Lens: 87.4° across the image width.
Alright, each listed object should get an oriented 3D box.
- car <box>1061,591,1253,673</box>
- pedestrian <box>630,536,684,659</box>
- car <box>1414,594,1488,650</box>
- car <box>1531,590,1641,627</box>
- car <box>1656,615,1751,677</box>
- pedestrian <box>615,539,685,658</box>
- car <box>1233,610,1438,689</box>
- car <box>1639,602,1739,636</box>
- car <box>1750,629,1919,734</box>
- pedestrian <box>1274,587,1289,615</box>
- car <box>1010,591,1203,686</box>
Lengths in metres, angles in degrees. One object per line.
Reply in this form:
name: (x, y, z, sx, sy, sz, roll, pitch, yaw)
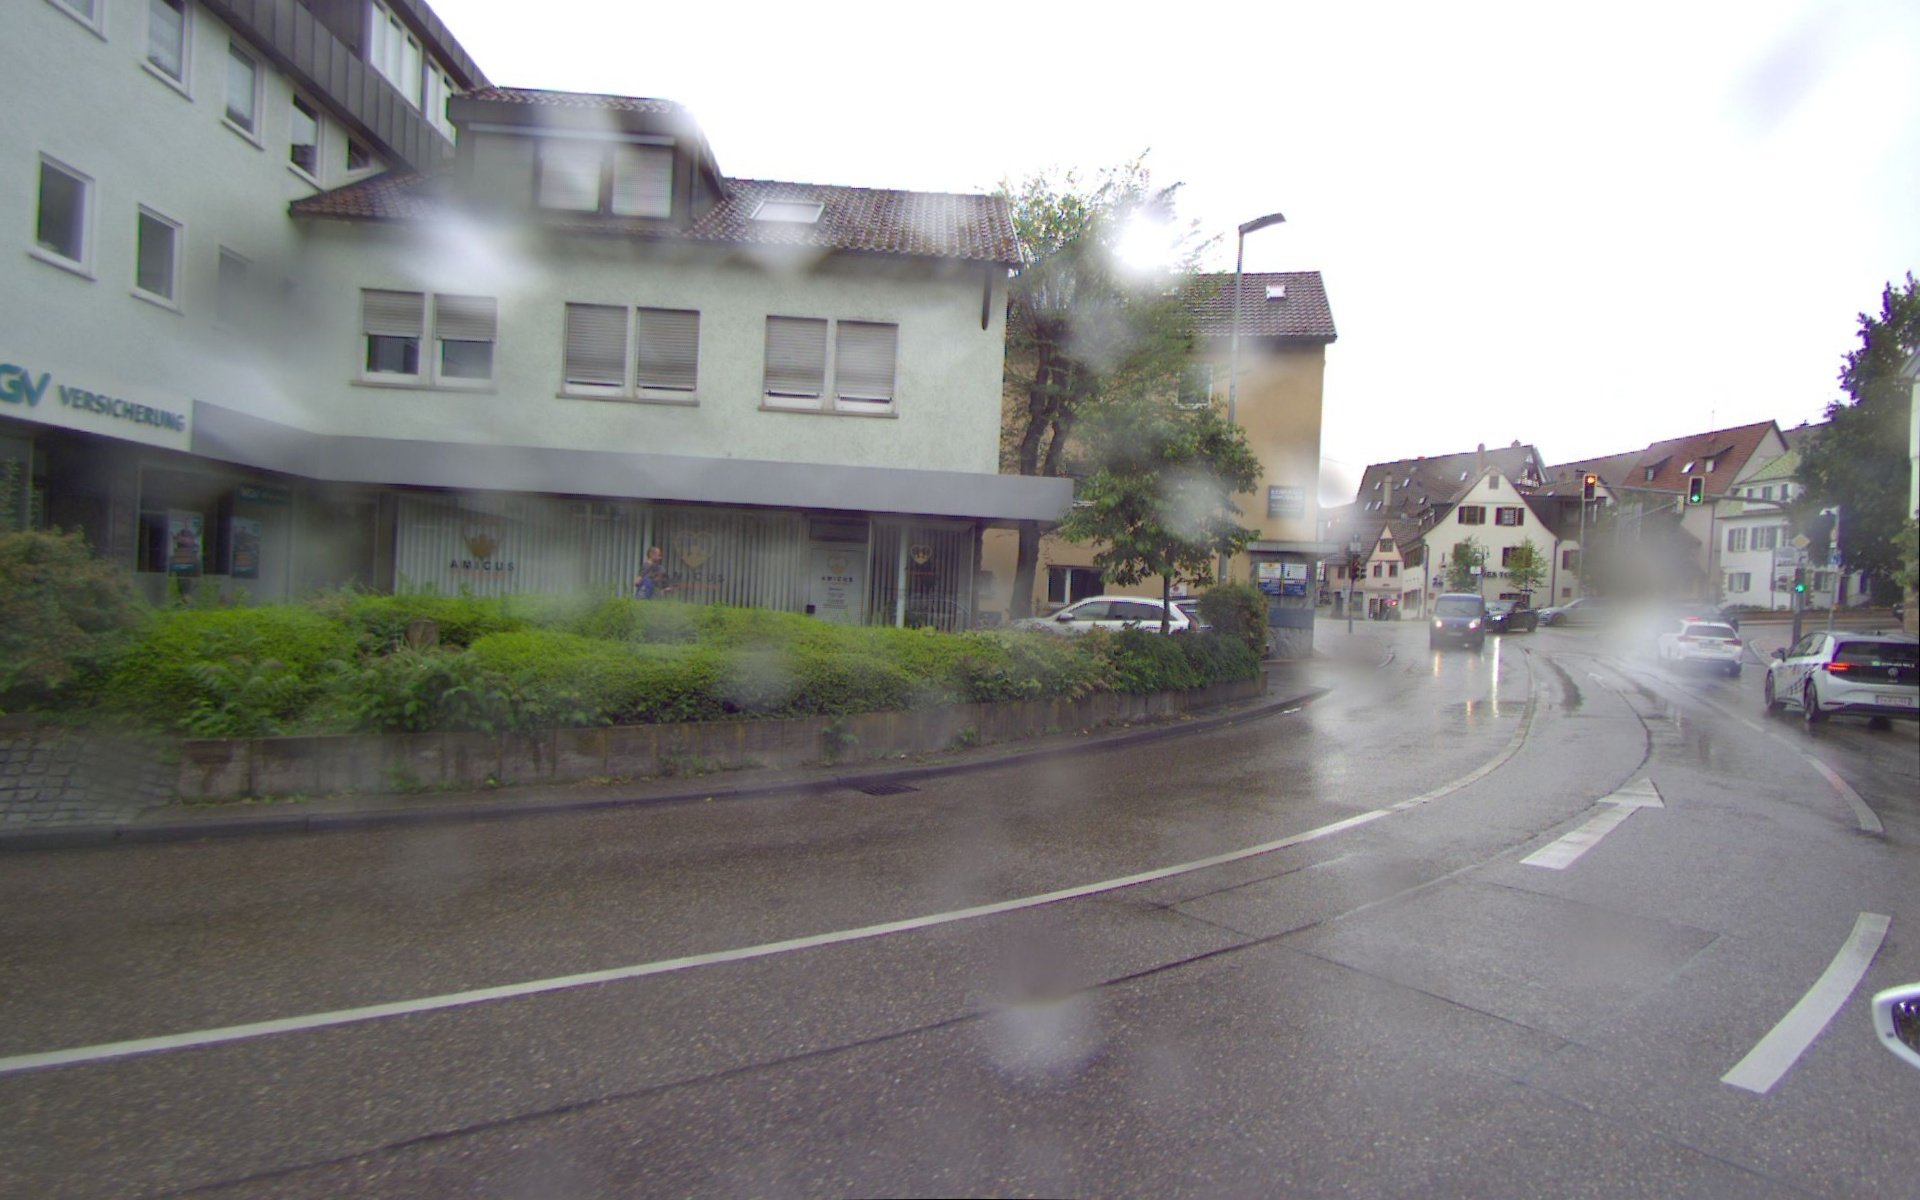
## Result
car: (5.282, 0.837, 27.193, 4.835, 1.850, 1.963, -3, 1, 11)
pedestrian: (-4.678, -0.036, 15.529, 0.661, 1.844, 0.617, 2, 1, -9)
car: (18.247, 0.762, 37.508, 1.961, 1.907, 4.377, 2, 1, 20)
car: (32.360, 0.420, 52.068, 4.389, 1.612, 2.001, 3, 1, 15)
car: (22.444, 1.314, 30.465, 1.858, 1.617, 4.315, 2, 1, 31)
pedestrian: (-4.587, -0.028, 14.887, 0.847, 1.694, 0.617, 2, 1, -8)
car: (8.165, 1.039, 22.199, 3.919, 1.473, 1.901, 2, 1, 10)
car: (30.439, 0.790, 41.934, 3.954, 1.319, 1.983, 1, 1, -31)
car: (15.269, 1.303, 17.346, 1.828, 1.492, 3.994, -1, 0, 27)
pedestrian: (22.112, 0.064, 69.062, 0.783, 1.855, 0.714, -1, 2, -1)
car: (2.819, 0.723, 20.055, 3.572, 1.650, 2.001, 2, 0, 3)
